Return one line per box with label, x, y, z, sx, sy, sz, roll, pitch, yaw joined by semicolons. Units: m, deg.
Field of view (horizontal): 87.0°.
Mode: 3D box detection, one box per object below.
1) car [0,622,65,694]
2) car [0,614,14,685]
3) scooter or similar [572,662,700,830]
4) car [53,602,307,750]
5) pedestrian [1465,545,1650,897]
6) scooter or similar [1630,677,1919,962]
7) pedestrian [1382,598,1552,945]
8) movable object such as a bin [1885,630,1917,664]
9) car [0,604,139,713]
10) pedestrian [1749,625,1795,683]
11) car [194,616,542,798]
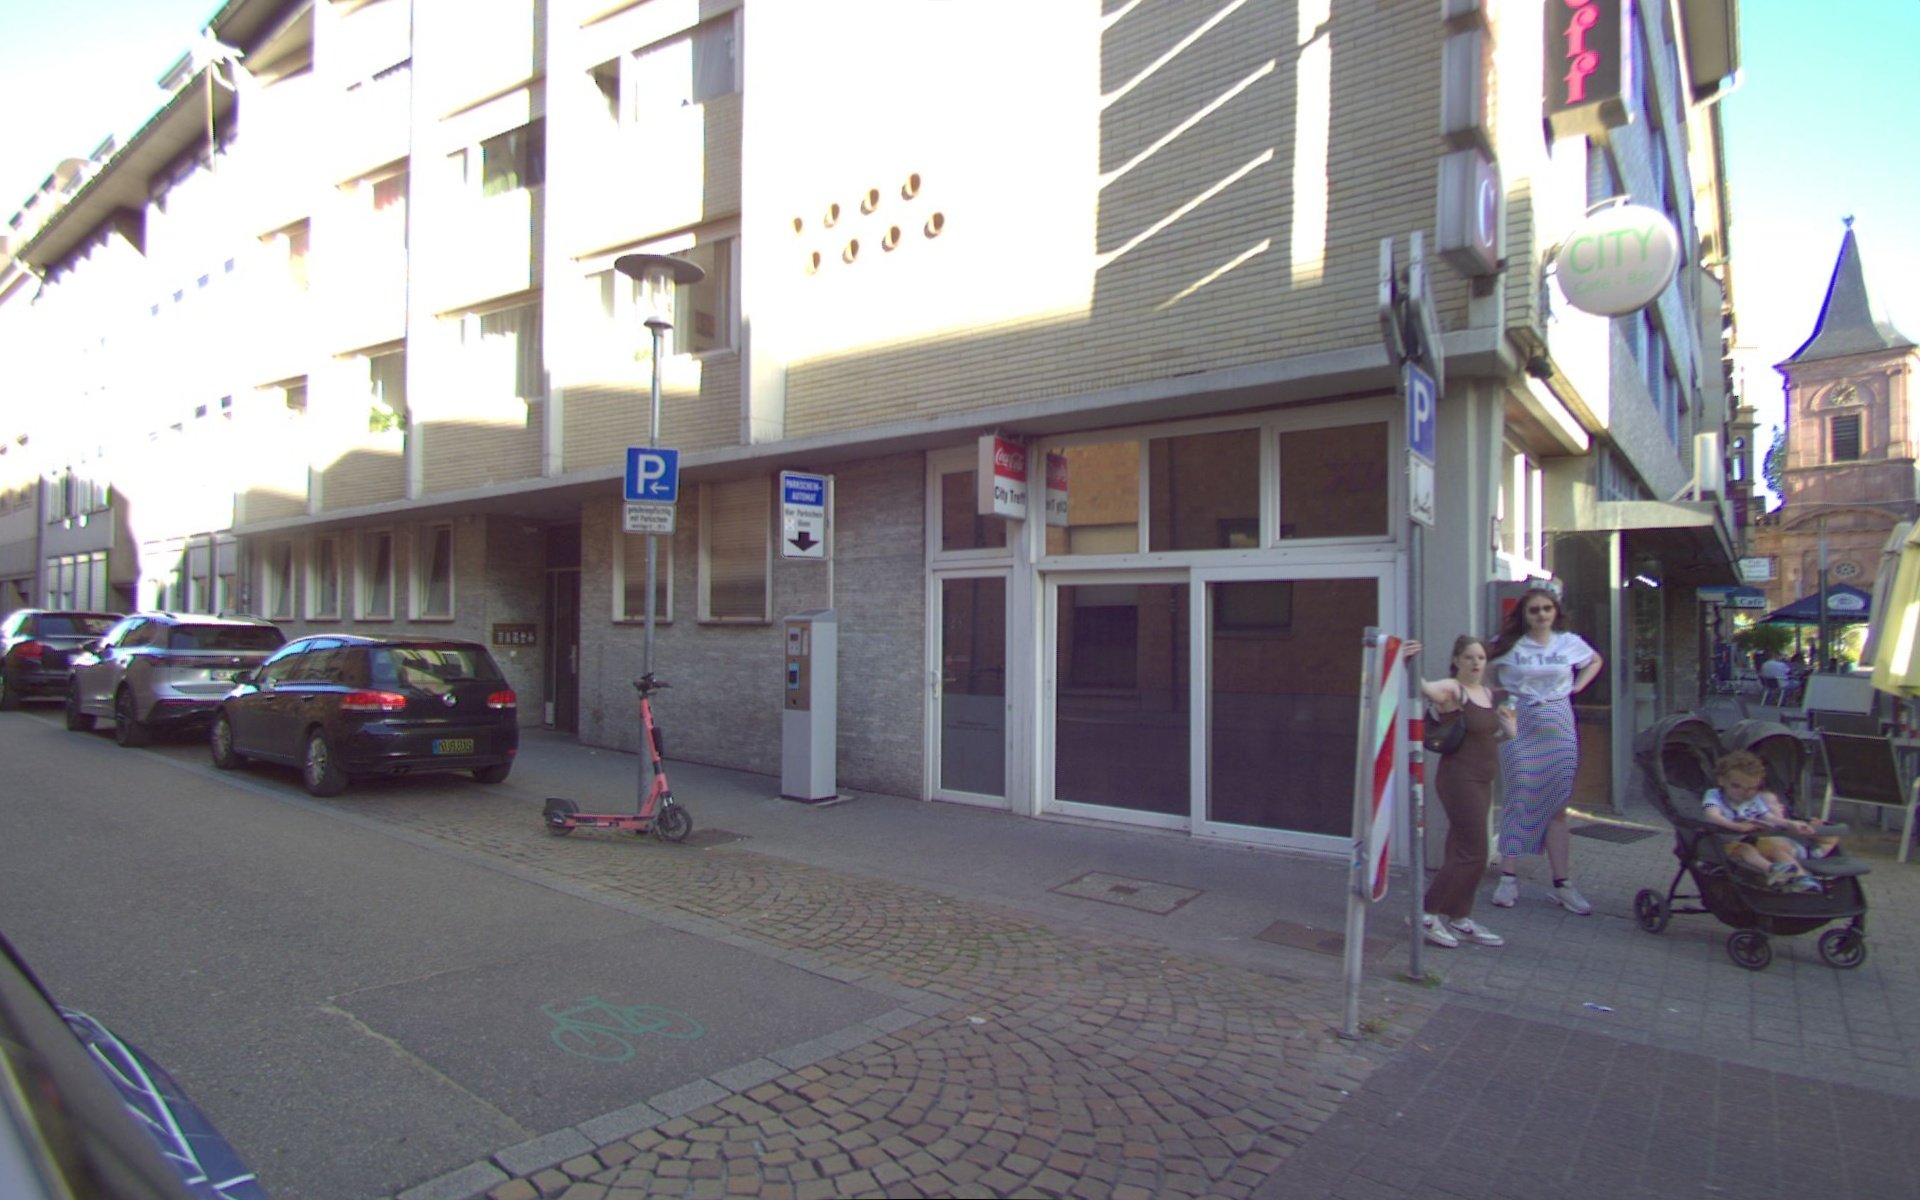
car;-20.983;1.224;21.927;3.858;1.472;1.652;-1;-3;38
car;-25.163;1.209;25.222;4.007;1.717;1.652;-1;-3;38
scooter or similar;-2.372;1.059;7.427;0.869;1.193;0.208;0;-1;-2
car;-10.397;0.929;13.397;4.075;1.674;1.652;-1;-3;38
pedestrian;3.351;0.631;5.694;0.648;1.833;0.572;-2;1;-22
scooter or similar;4.008;0.994;4.931;0.786;1.152;0.956;0;0;-9
pedestrian;2.523;0.799;5.051;0.525;1.591;0.512;-2;1;-29
movable object such as a bin;30.488;1.521;32.792;0.722;1.083;0.369;-1;-1;38
car;-16.127;0.989;17.846;4.007;1.717;1.652;-1;-3;38
pedestrian;19.564;1.289;24.389;0.706;1.378;0.713;-1;-1;27
car;-6.061;0.974;10.227;3.806;1.497;1.718;-2;-4;38
